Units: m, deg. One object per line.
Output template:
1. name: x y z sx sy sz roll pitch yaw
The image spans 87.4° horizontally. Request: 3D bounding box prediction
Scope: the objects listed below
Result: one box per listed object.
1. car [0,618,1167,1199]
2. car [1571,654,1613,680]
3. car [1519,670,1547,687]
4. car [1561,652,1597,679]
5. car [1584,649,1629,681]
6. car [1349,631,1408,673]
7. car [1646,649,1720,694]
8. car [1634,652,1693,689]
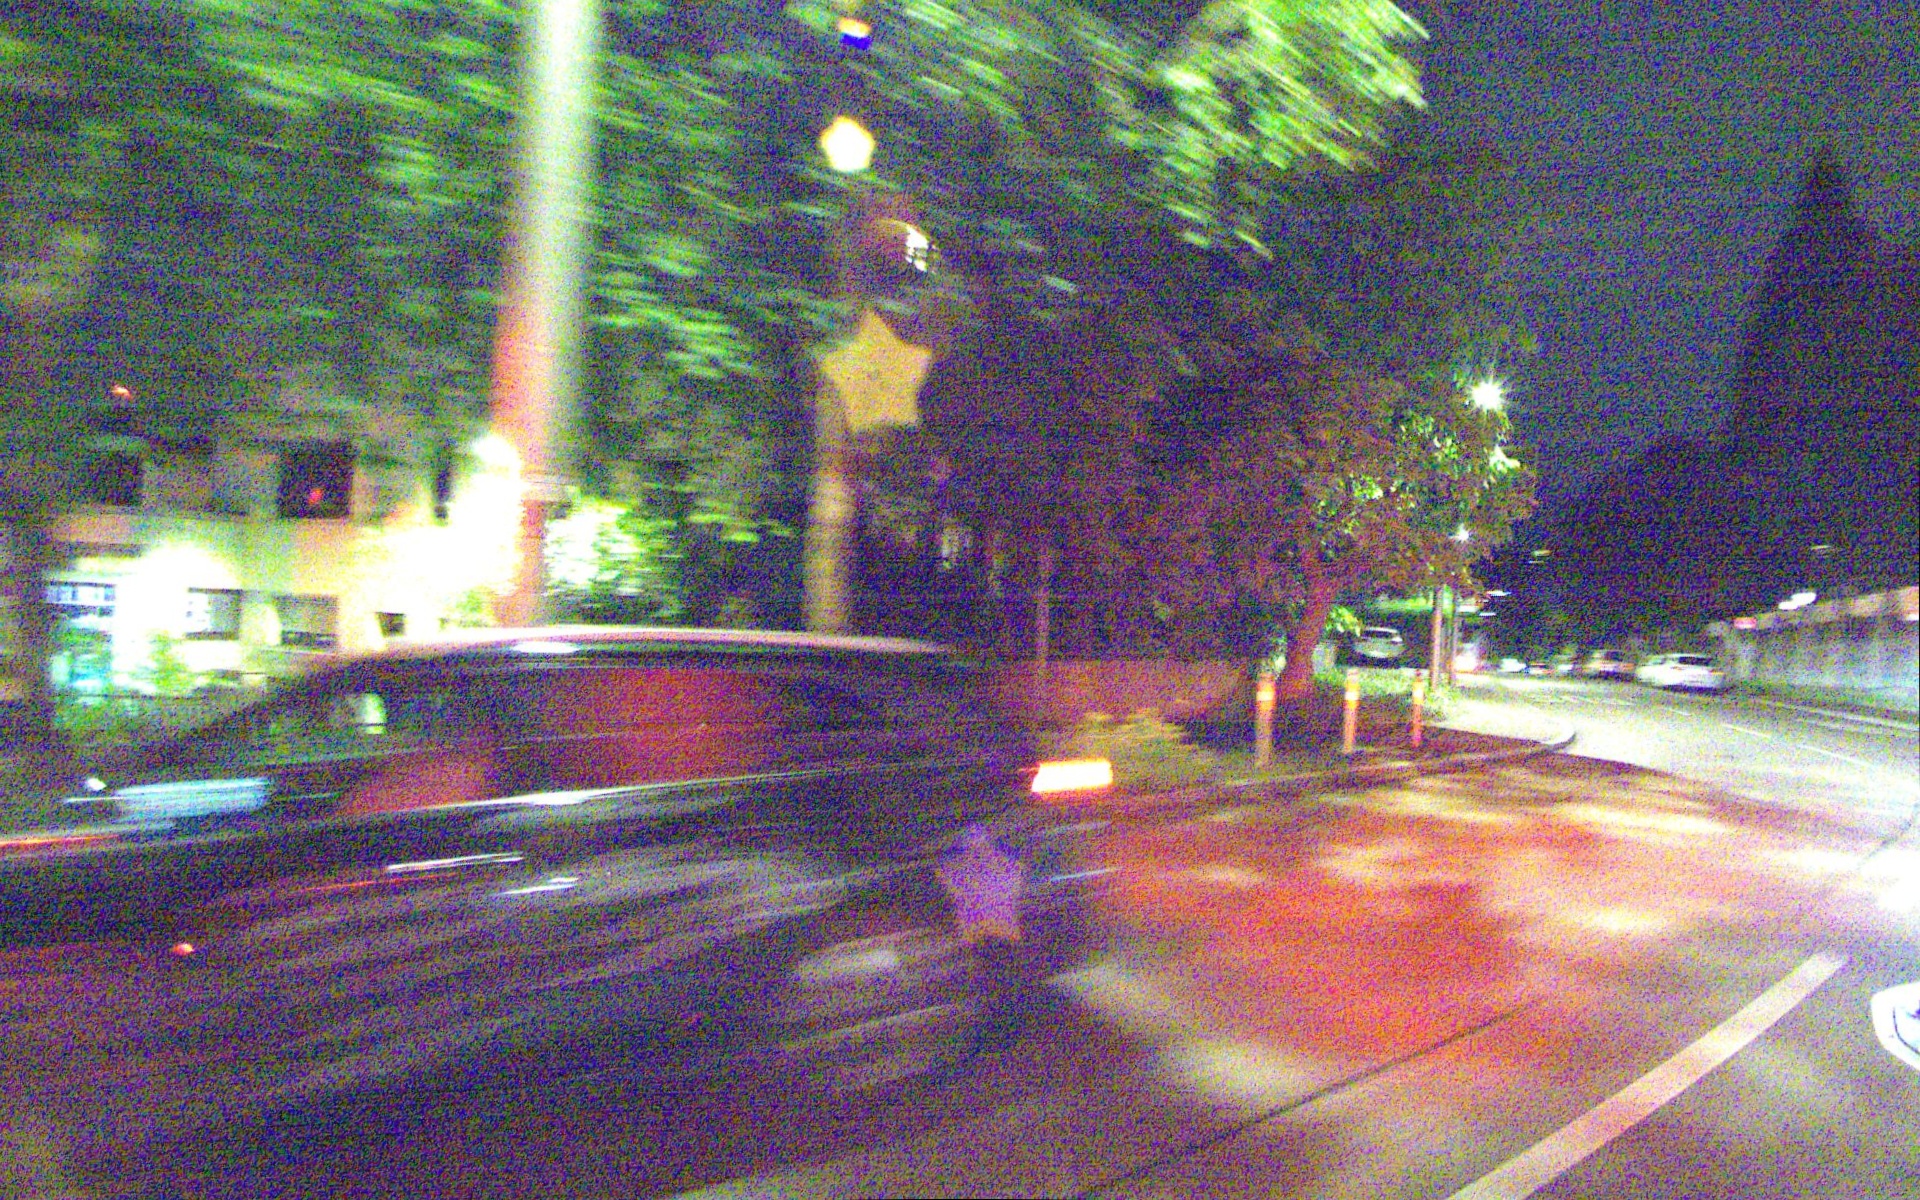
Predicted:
1. car: -1.551 0.817 3.281 4.235 1.448 1.719 2 -1 -27
2. car: 41.817 4.429 66.545 1.716 1.490 4.254 5 -1 25
3. car: 56.221 7.714 98.662 1.735 1.494 4.276 5 -2 22
4. car: 44.137 4.686 71.662 1.804 1.685 4.614 3 -3 28
5. car: 39.551 3.961 61.561 1.692 1.784 4.754 4 -1 26
6. car: 16.726 2.060 40.284 1.942 1.458 4.000 4 -1 21
7. car: 30.118 2.946 41.970 1.728 1.614 4.723 4 -1 27
8. car: 32.146 3.203 45.985 1.584 1.480 3.713 0 -1 26
